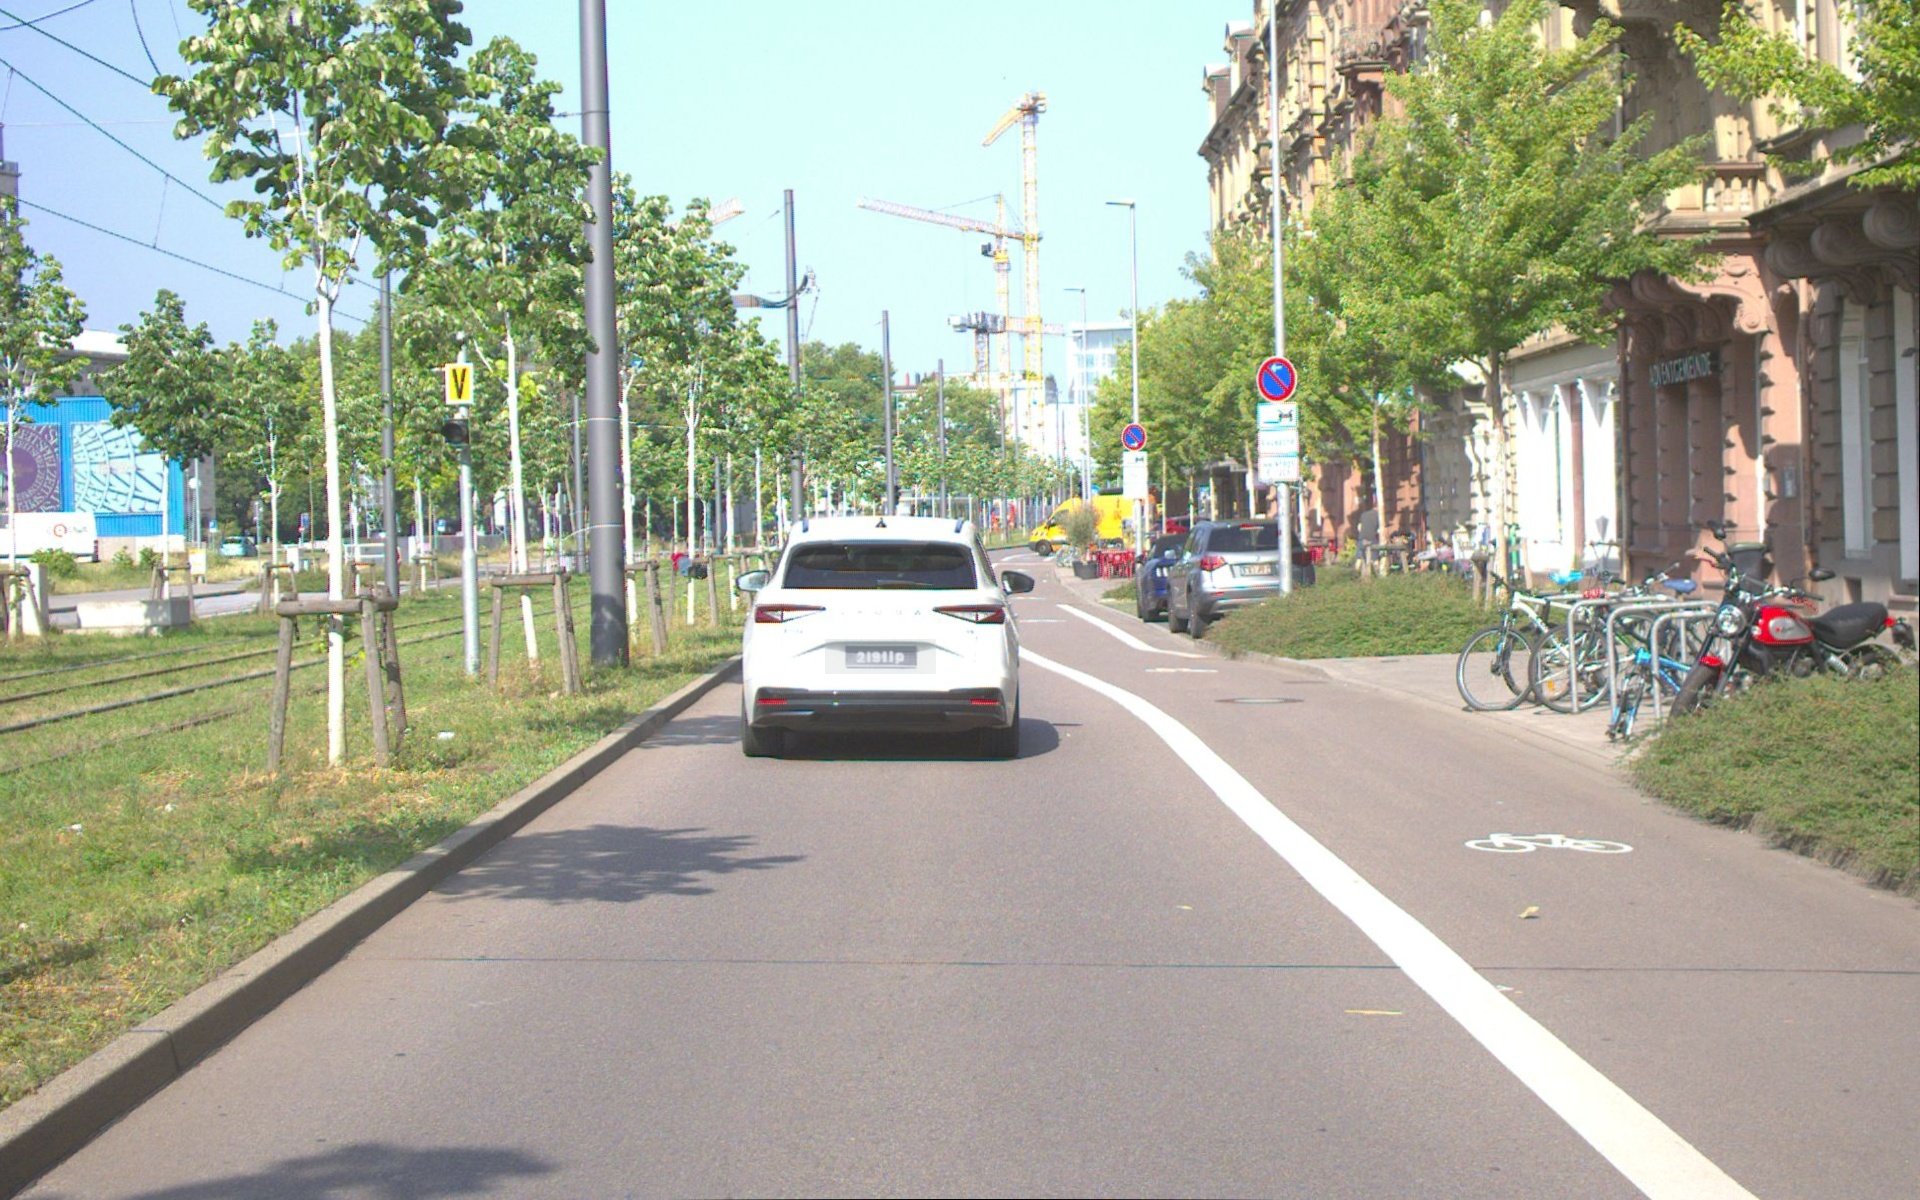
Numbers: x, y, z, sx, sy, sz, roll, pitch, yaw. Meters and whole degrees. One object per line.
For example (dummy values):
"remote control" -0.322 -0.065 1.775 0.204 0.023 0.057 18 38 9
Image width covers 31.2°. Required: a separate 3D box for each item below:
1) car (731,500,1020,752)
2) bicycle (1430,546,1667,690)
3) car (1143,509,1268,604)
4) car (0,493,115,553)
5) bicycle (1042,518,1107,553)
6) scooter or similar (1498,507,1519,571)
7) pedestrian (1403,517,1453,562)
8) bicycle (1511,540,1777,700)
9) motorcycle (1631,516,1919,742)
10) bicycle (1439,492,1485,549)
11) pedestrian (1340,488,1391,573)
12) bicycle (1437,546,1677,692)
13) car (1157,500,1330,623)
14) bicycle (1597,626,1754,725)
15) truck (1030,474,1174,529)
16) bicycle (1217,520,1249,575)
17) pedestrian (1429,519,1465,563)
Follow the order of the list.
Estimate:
"car" -0.541 0.109 23.954 1.817 1.584 4.407 0 1 0
"bicycle" 4.707 0.139 27.538 1.784 1.050 0.373 -3 2 -1
"car" 3.968 -0.737 56.174 1.736 1.391 4.715 -3 2 1
"car" -42.186 -3.508 156.528 6.873 2.629 2.515 1 1 -21
"bicycle" 4.038 -2.256 121.042 2.239 1.100 0.588 -3 1 2
"scooter or similar" 9.927 -1.105 62.189 0.289 1.130 1.088 -1 2 6
"pedestrian" 9.757 -1.261 71.721 0.877 0.873 0.711 -3 2 -3
"bicycle" 5.160 0.144 25.974 1.806 1.092 0.672 -3 2 -5
"motorcycle" 5.264 0.159 21.856 2.035 1.282 0.705 -4 3 -35
"bicycle" 9.748 -1.551 66.743 0.450 1.079 1.449 -1 2 -9
"pedestrian" 8.323 -1.428 70.596 0.823 1.690 0.793 -3 2 -4
"bicycle" 4.706 0.146 27.139 1.784 1.050 0.373 -3 2 -1
"car" 3.947 -0.581 48.555 1.769 1.583 4.249 -3 2 -4
"bicycle" 4.824 0.507 23.195 0.958 0.607 0.360 -3 1 1
"truck" 6.210 -4.299 150.440 5.878 2.310 2.217 0 2 26
"bicycle" 5.563 -1.084 70.034 0.492 1.090 1.827 -1 2 0
"pedestrian" 9.920 -1.202 70.026 0.570 0.852 0.457 -4 2 -6
